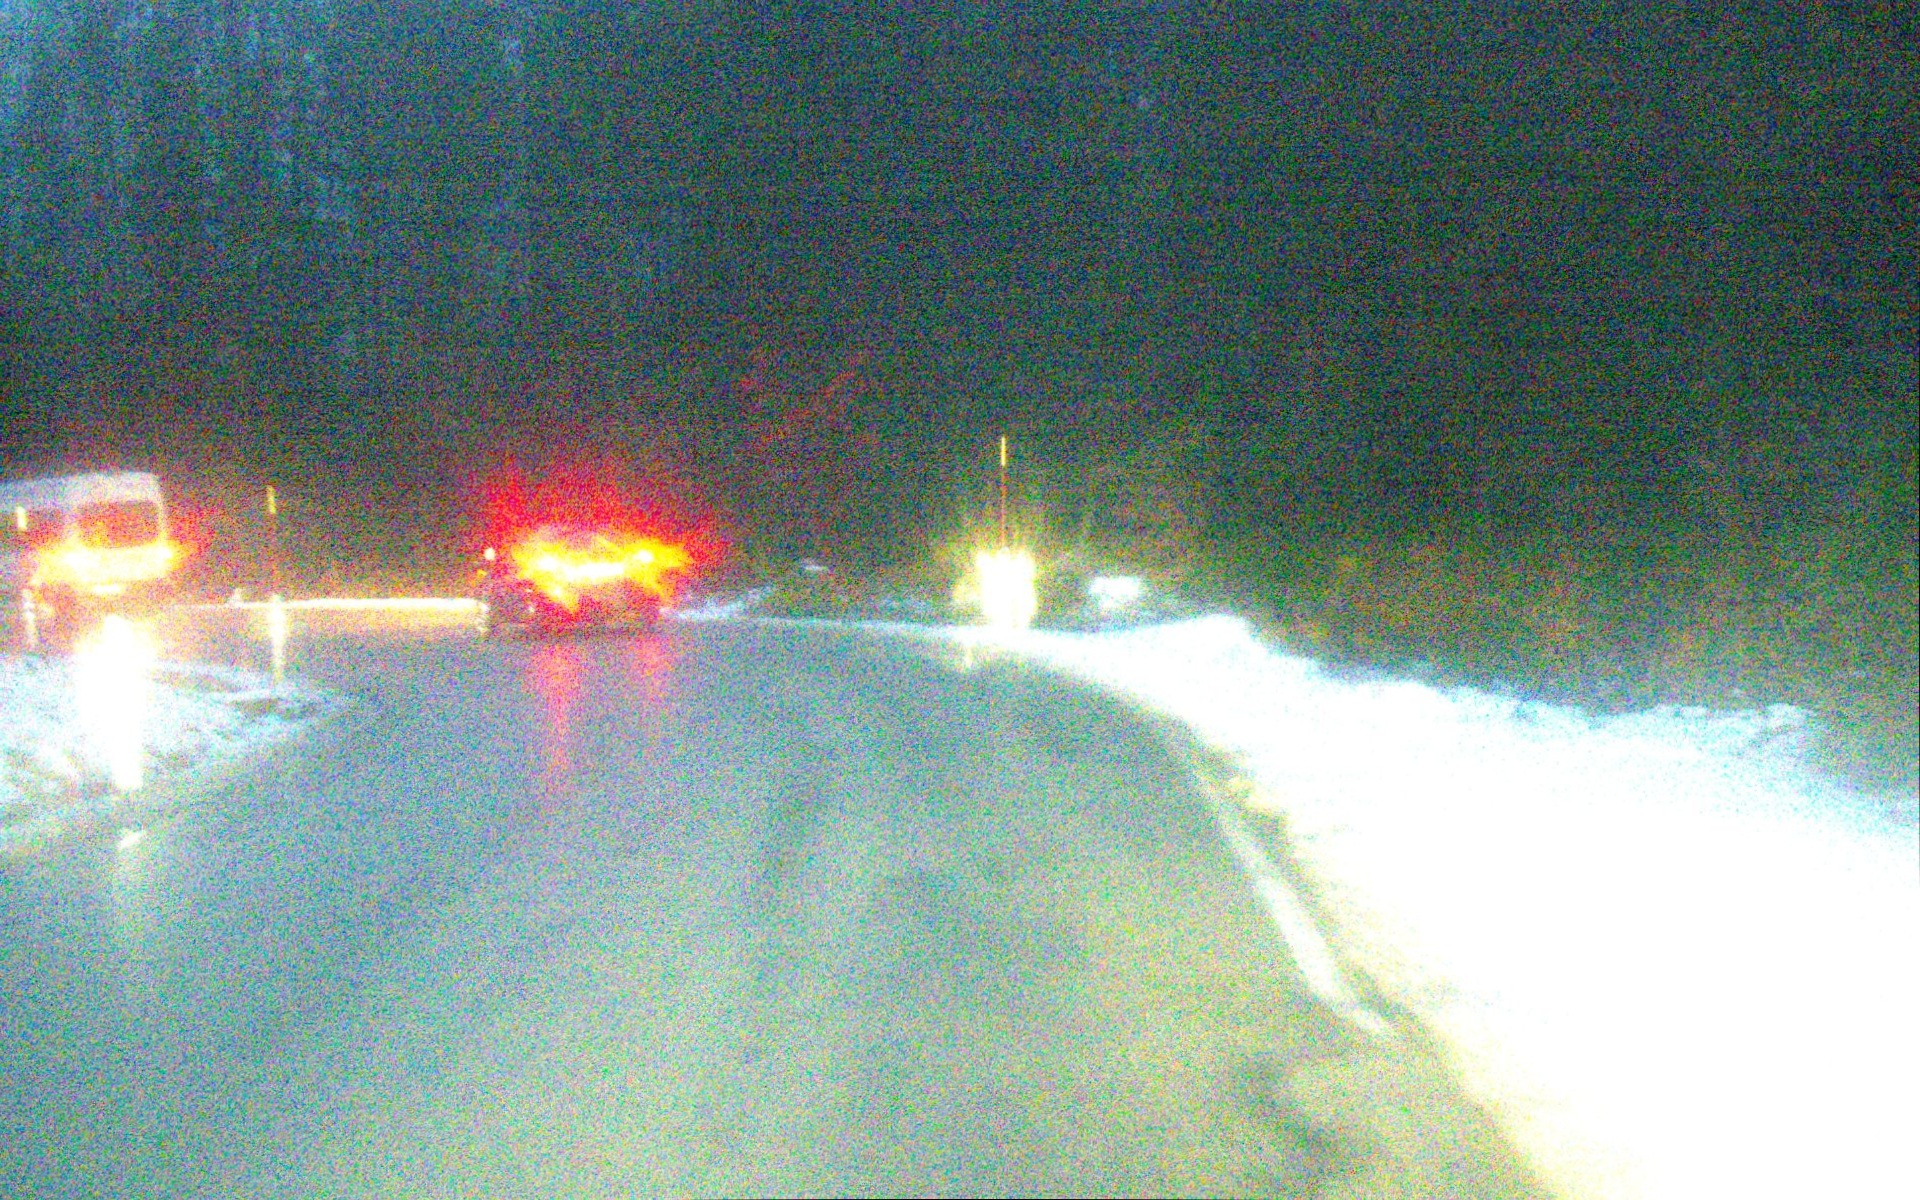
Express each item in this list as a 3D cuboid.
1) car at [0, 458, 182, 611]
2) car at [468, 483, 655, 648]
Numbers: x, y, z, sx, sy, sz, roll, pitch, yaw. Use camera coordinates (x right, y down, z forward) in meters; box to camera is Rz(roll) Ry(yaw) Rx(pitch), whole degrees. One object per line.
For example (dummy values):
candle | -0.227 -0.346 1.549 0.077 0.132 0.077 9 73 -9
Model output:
car | -16.499 -1.187 63.190 2.253 2.636 5.005 -4 2 -38
car | -5.396 -0.467 46.107 1.993 2.044 4.001 -2 1 -13
